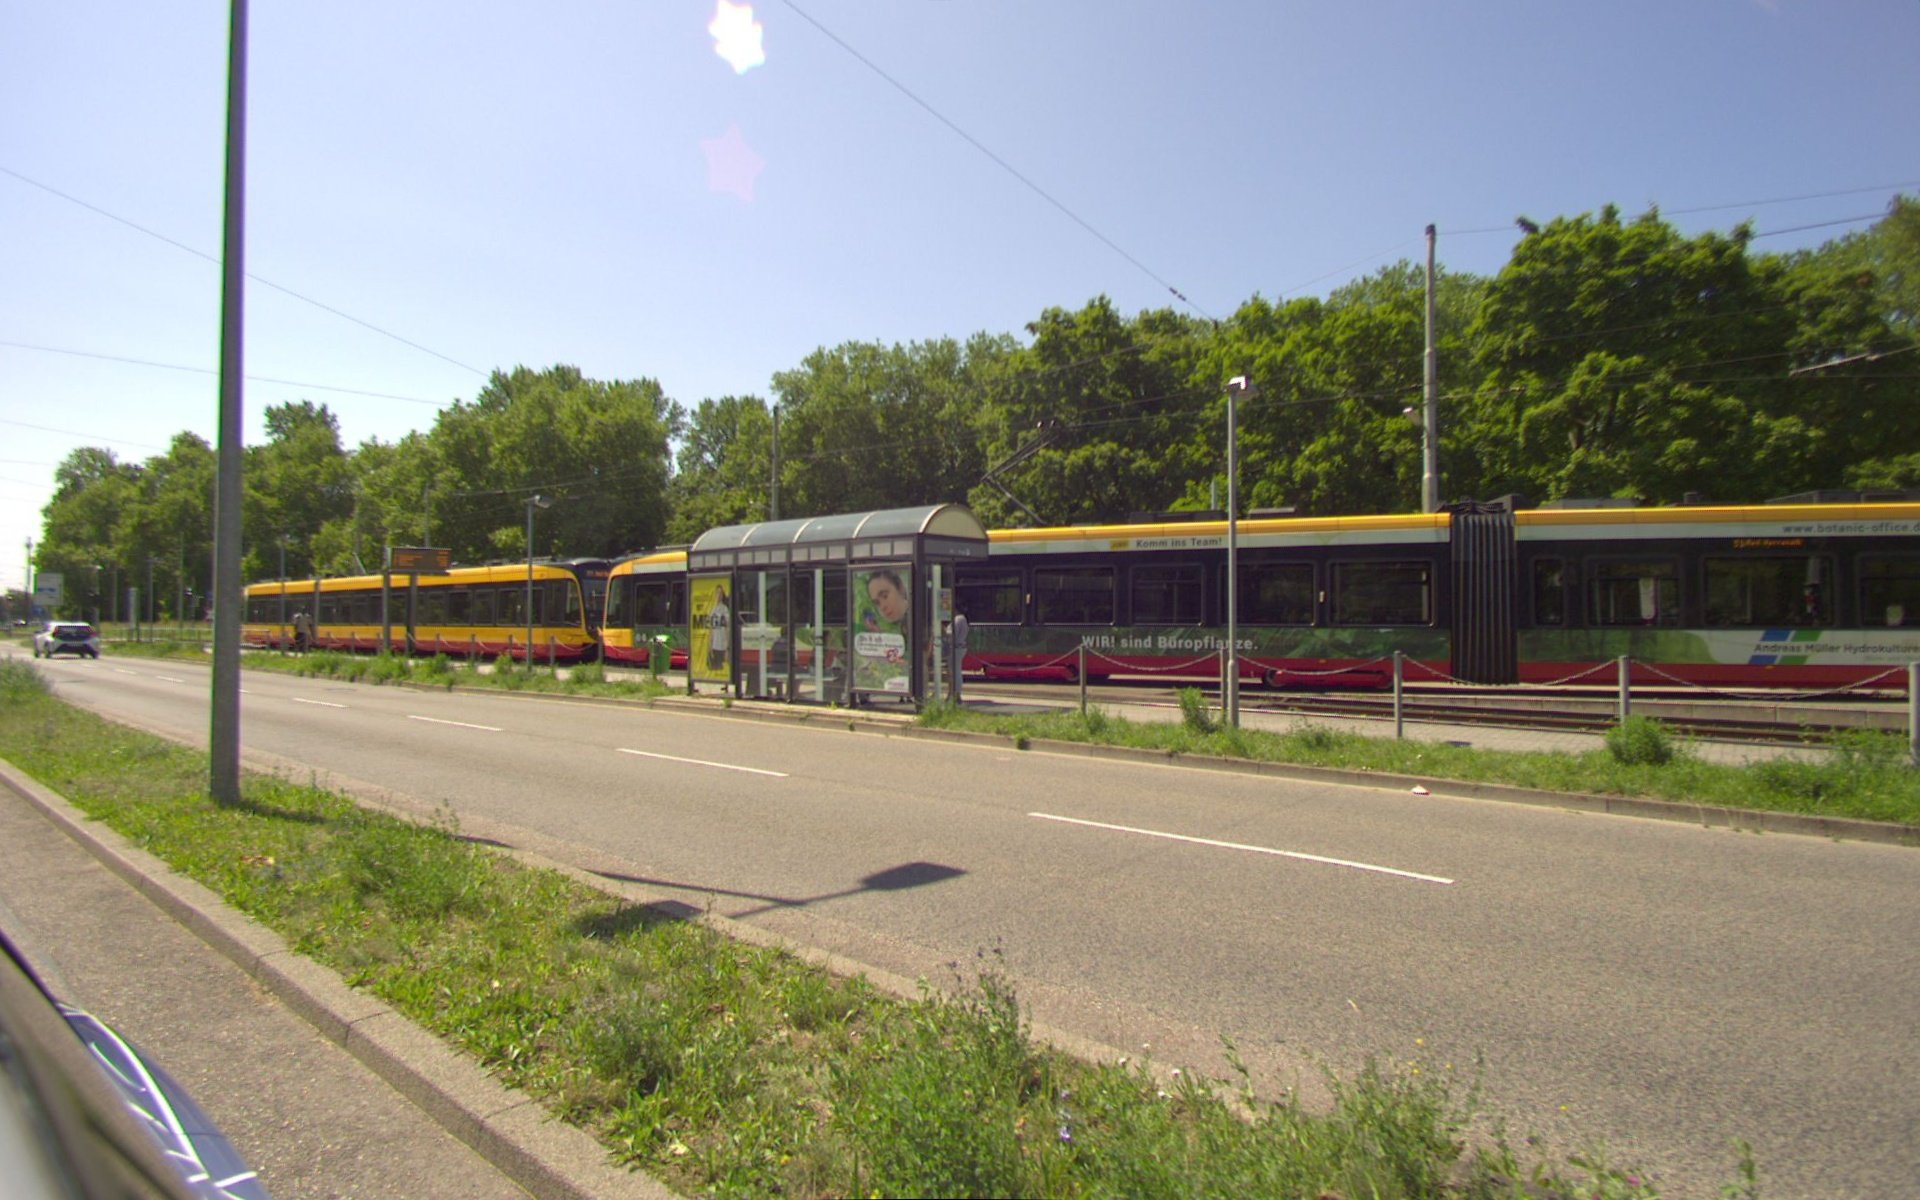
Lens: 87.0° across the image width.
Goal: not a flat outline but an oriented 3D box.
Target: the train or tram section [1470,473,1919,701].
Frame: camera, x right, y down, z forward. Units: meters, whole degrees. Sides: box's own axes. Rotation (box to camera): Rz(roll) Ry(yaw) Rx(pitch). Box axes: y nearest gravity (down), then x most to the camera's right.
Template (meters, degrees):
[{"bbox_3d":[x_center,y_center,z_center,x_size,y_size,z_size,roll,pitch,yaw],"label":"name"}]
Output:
[{"bbox_3d":[16.053,-0.223,17.576,12.327,3.652,3.041,-1,0,13],"label":"train or tram section"}]

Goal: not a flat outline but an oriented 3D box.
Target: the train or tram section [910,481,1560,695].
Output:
[{"bbox_3d":[5.148,-0.076,21.197,12.378,3.652,3.028,-1,0,25],"label":"train or tram section"}]

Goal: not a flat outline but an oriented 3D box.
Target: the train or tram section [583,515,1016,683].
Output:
[{"bbox_3d":[-5.042,0.102,27.528,13.880,3.652,3.014,-1,0,39],"label":"train or tram section"}]

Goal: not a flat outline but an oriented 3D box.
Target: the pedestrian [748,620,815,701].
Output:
[{"bbox_3d":[-2.971,0.988,16.868,0.839,1.293,0.694,-2,0,38],"label":"pedestrian"}]

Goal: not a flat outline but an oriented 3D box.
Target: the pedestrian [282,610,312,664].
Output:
[{"bbox_3d":[-22.505,1.244,34.368,0.775,1.804,0.626,-2,0,39],"label":"pedestrian"}]

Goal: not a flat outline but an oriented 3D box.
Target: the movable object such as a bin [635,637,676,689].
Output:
[{"bbox_3d":[-5.934,1.218,19.711,0.644,0.985,0.477,-1,-2,36],"label":"movable object such as a bin"}]

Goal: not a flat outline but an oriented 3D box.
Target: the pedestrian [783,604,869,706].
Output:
[{"bbox_3d":[-2.148,0.859,16.214,1.024,1.558,0.865,-2,0,38],"label":"pedestrian"}]

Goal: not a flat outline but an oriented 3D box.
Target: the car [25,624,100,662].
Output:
[{"bbox_3d":[-37.673,1.780,42.444,3.715,1.516,1.752,-1,-1,39],"label":"car"}]

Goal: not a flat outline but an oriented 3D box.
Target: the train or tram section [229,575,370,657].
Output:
[{"bbox_3d":[-34.455,0.855,52.495,11.531,3.884,2.920,-1,0,40],"label":"train or tram section"}]

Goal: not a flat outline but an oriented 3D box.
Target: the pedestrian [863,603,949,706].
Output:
[{"bbox_3d":[-0.860,0.845,16.127,0.984,1.558,0.922,-2,0,38],"label":"pedestrian"}]

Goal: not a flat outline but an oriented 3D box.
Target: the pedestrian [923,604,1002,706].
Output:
[{"bbox_3d":[0.045,0.830,15.736,0.878,1.519,0.826,-2,0,38],"label":"pedestrian"}]

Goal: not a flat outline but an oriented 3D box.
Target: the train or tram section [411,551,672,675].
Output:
[{"bbox_3d":[-15.435,0.500,36.332,13.253,3.795,3.012,-1,0,41],"label":"train or tram section"}]

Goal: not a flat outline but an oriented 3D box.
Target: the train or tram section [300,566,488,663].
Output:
[{"bbox_3d":[-25.257,0.670,44.665,12.586,3.769,3.013,-1,0,40],"label":"train or tram section"}]
